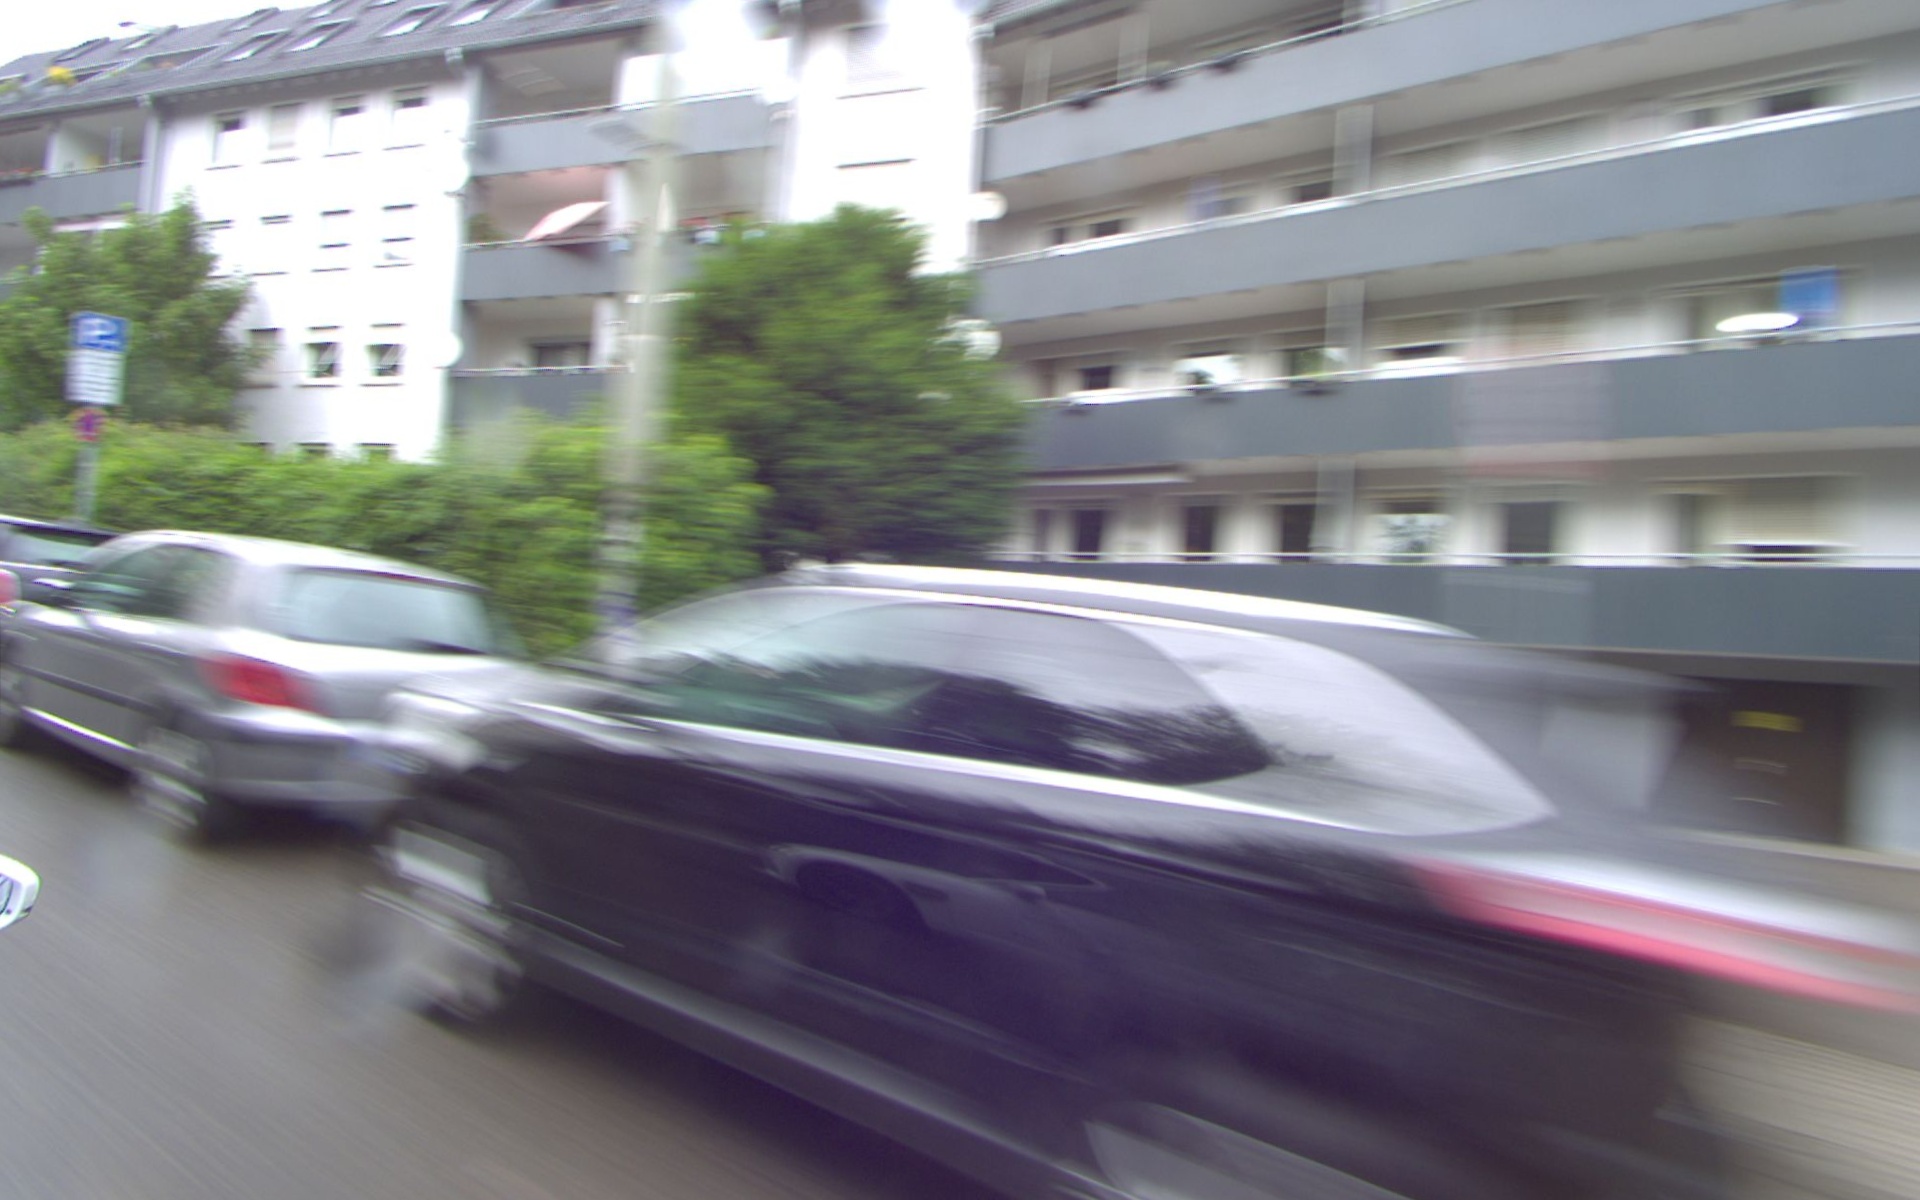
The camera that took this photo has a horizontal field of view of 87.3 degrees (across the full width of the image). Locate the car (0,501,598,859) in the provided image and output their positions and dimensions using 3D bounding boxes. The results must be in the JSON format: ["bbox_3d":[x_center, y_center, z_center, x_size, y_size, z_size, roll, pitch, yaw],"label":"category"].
[{"bbox_3d":[-4.399,0.328,6.196,4.180,1.443,1.709,6,-3,32],"label":"car"}]

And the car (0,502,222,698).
[{"bbox_3d":[-8.656,-0.116,9.140,3.798,1.442,1.709,6,-3,32],"label":"car"}]

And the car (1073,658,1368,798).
[{"bbox_3d":[4.100,1.956,16.054,4.135,1.539,1.687,5,-2,32],"label":"car"}]

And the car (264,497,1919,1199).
[{"bbox_3d":[-0.089,0.742,3.428,4.612,1.659,1.911,6,-3,32],"label":"car"}]

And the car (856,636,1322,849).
[{"bbox_3d":[1.194,1.274,9.879,4.137,1.531,1.724,2,-5,32],"label":"car"}]
